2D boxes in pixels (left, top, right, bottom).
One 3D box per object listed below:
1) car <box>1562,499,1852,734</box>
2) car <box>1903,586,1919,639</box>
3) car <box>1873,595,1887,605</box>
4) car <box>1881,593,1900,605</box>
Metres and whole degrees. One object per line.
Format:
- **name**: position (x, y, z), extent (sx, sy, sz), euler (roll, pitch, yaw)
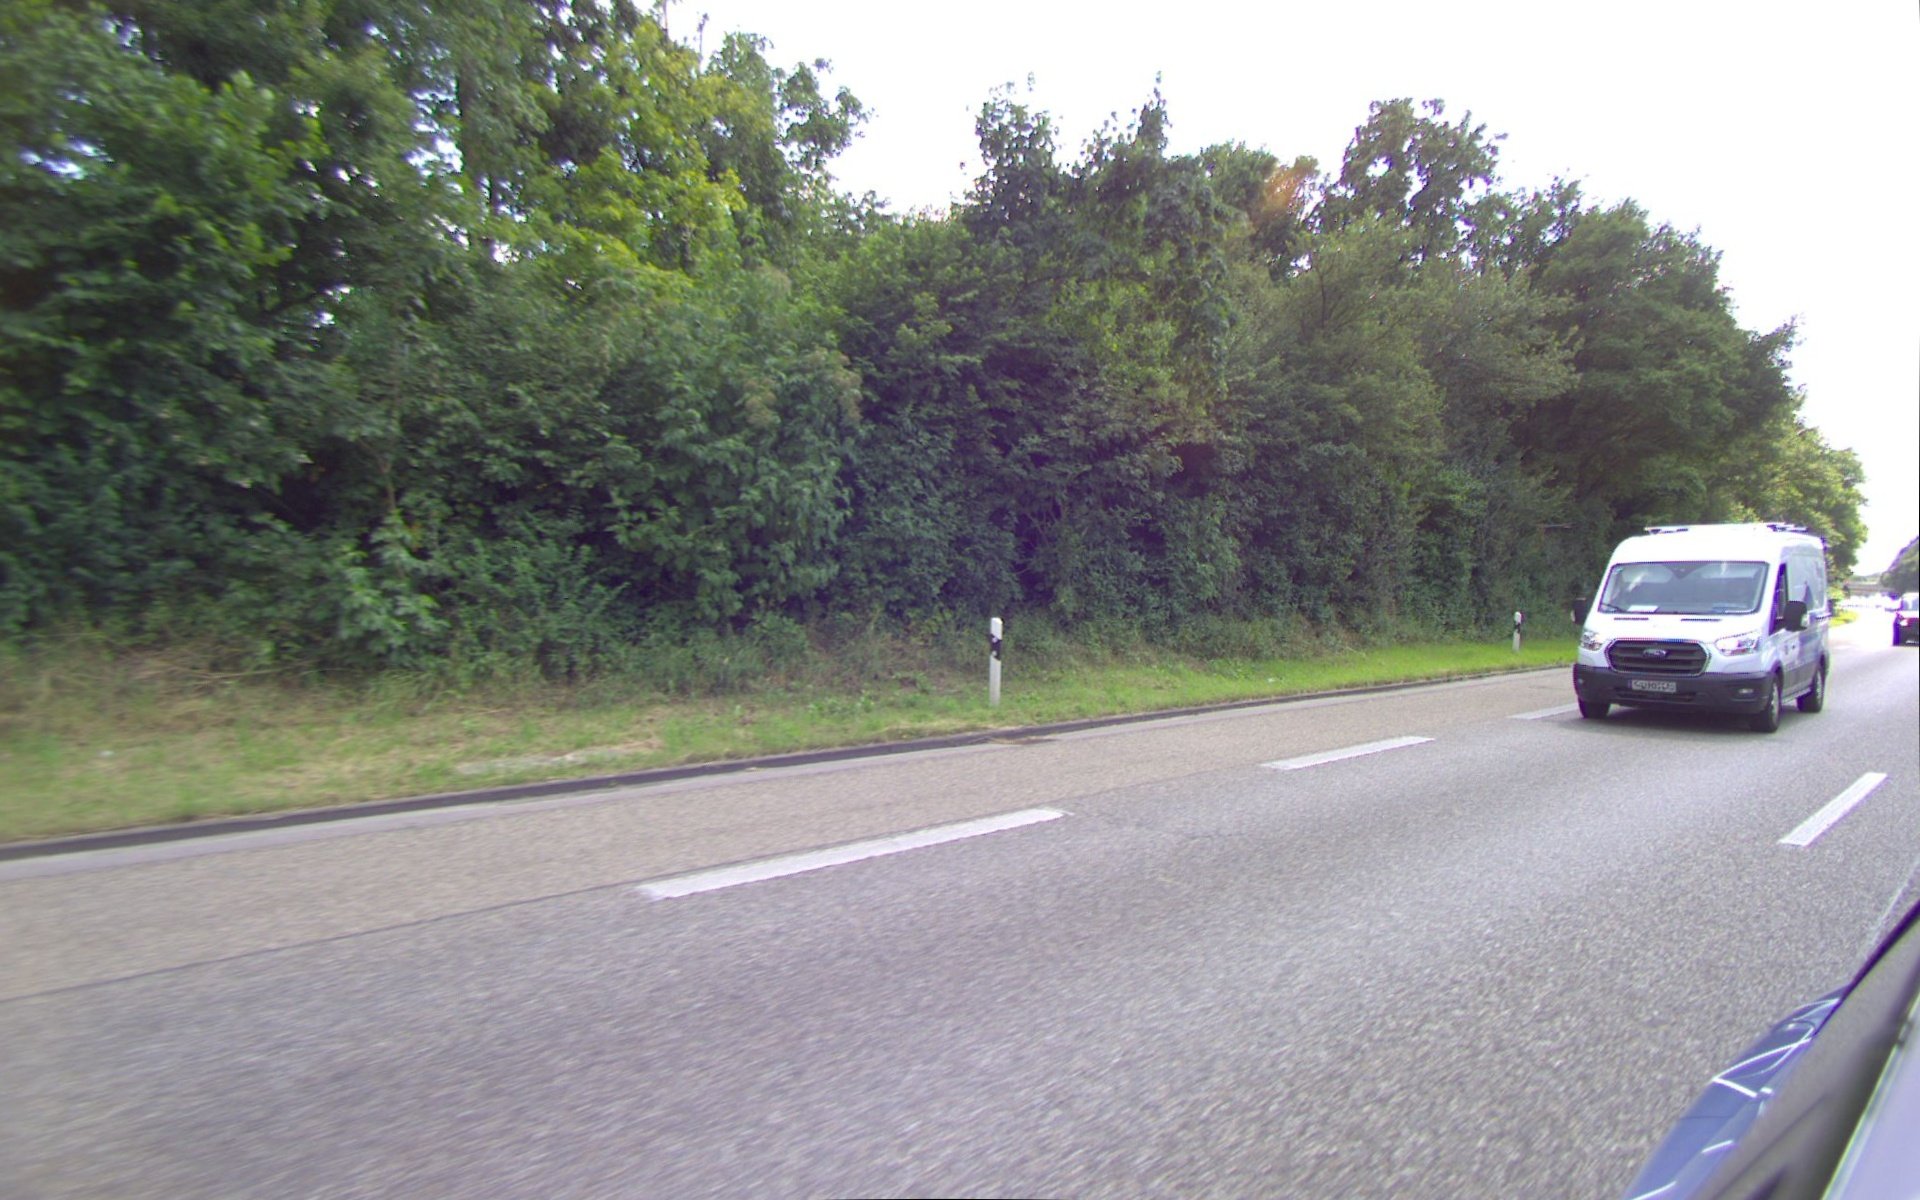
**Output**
- **car**: position (10.045, 0.173, 13.430), extent (5.188, 2.539, 2.101), euler (0, 0, -42)
- **car**: position (34.897, 0.438, 35.851), extent (4.321, 1.828, 1.905), euler (0, 0, -43)
- **car**: position (159.613, 0.006, 175.542), extent (1.780, 1.540, 3.939), euler (2, 2, 42)
- **car**: position (124.531, -0.106, 135.393), extent (1.781, 1.540, 3.937), euler (2, 2, 43)
